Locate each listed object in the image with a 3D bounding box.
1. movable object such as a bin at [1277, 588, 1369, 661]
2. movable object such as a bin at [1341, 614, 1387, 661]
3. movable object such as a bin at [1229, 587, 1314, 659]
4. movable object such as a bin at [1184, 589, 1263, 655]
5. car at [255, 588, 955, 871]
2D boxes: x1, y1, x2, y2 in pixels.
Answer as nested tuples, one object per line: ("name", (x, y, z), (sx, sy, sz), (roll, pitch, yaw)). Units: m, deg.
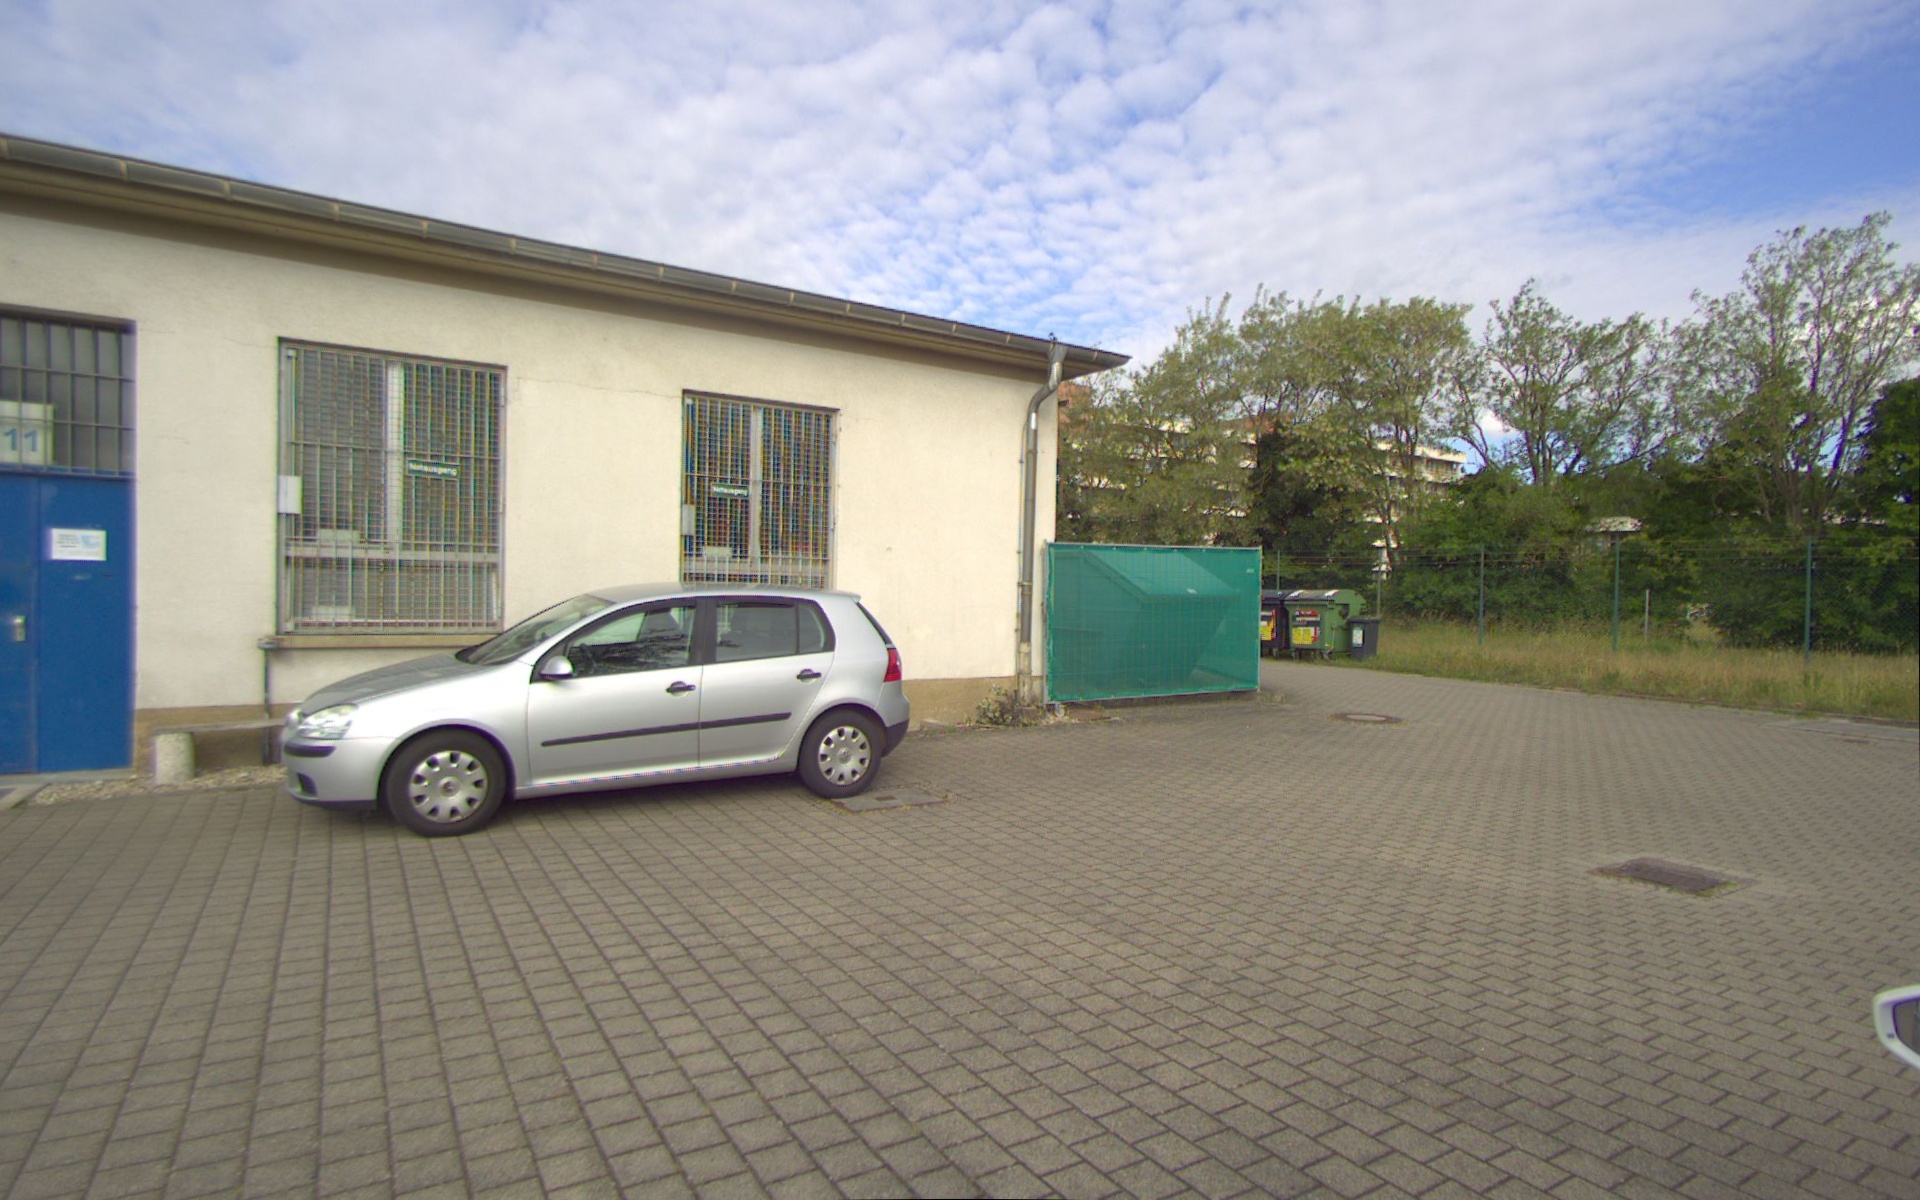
("movable object such as a bin", (7.269, 0.484, 20.183), (1.116, 1.414, 1.348), (1, 0, -23))
("movable object such as a bin", (7.788, 0.717, 19.375), (0.593, 0.877, 0.582), (1, 0, -24))
("movable object such as a bin", (6.602, 0.476, 21.353), (1.060, 1.454, 1.387), (1, 0, -29))
("movable object such as a bin", (5.875, 0.485, 22.457), (1.060, 1.424, 1.374), (1, 0, -29))
("car", (-2.354, 0.665, 7.185), (4.322, 1.458, 1.913), (0, 1, -34))
